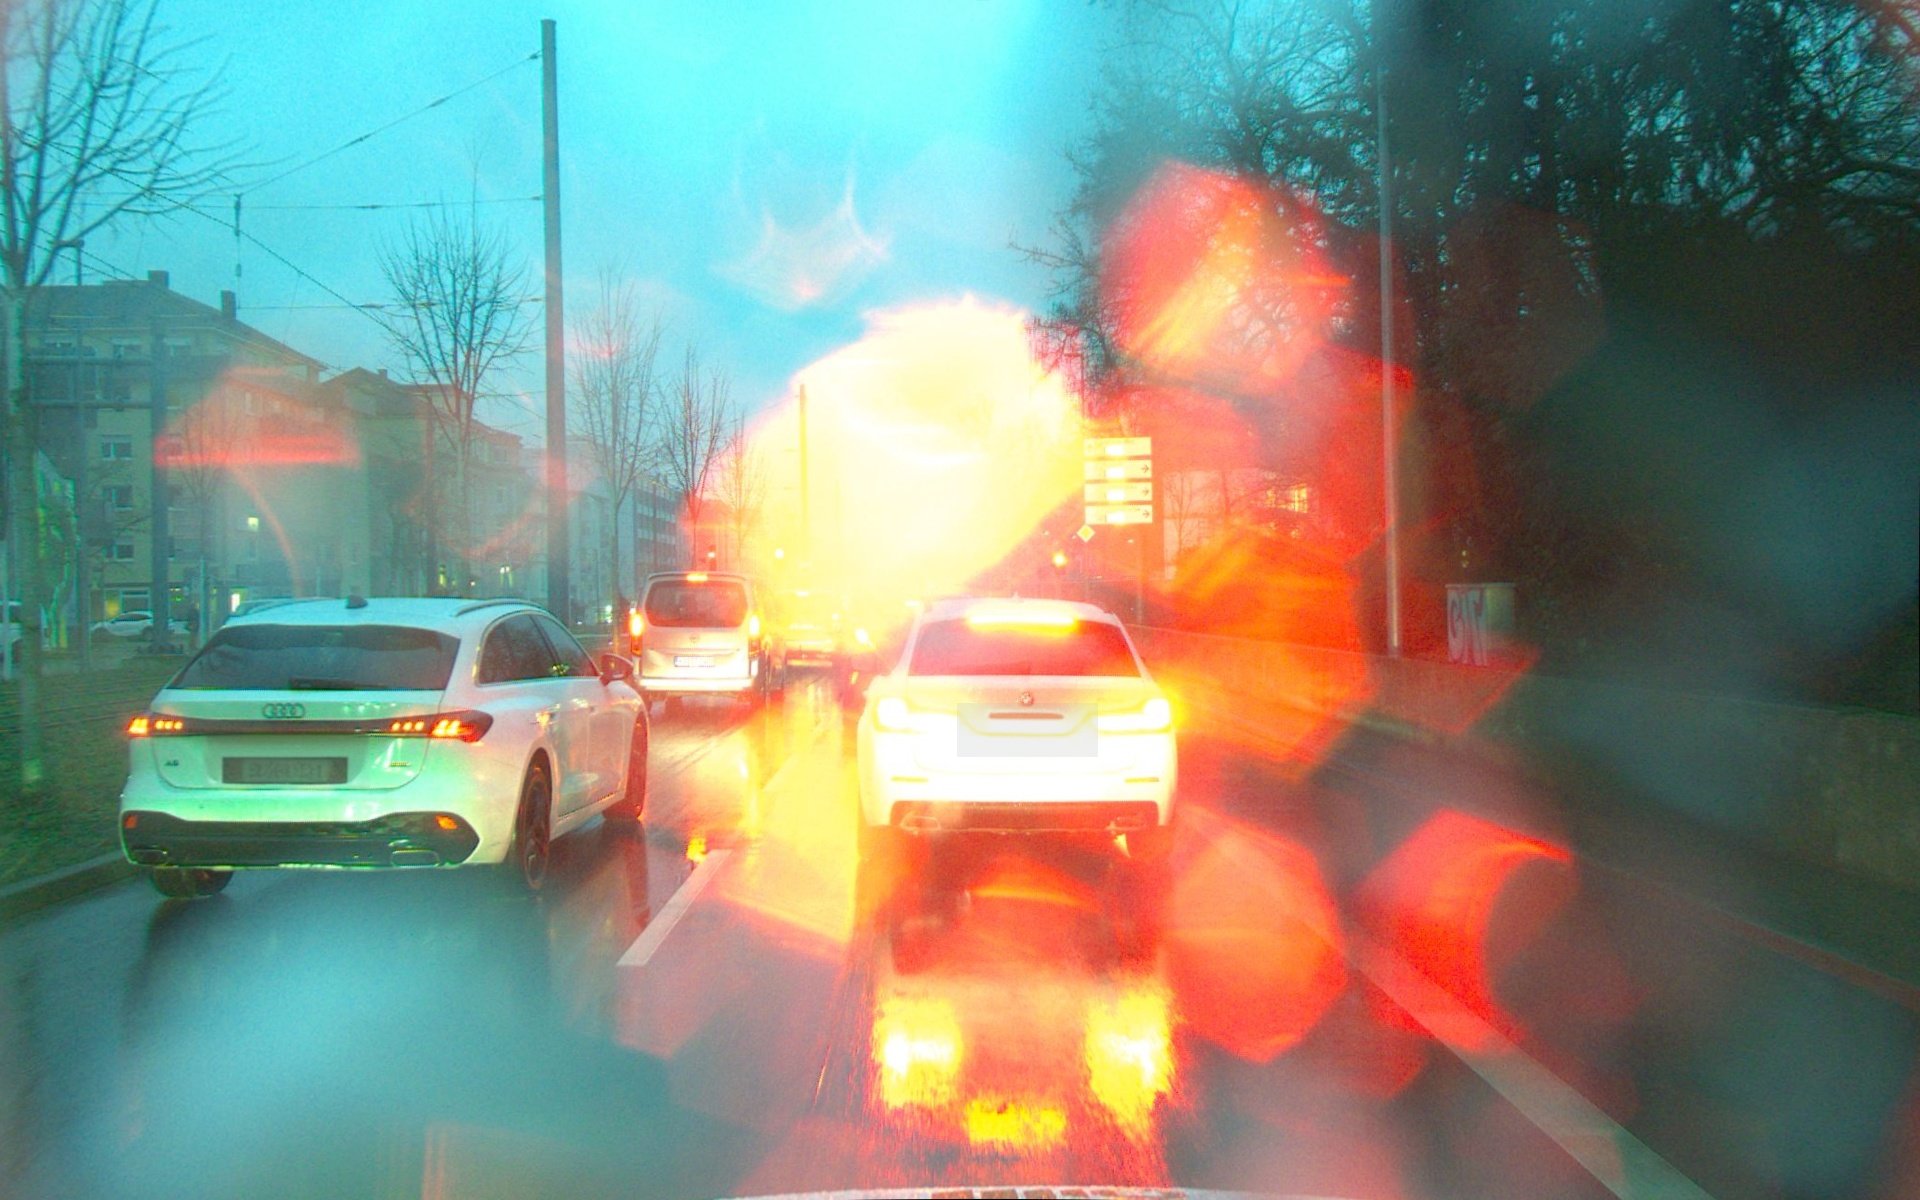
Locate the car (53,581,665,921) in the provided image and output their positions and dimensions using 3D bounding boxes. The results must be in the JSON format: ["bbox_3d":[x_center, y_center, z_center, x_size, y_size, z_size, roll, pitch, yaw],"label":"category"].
[{"bbox_3d":[-2.950,0.646,9.310,1.809,1.430,4.613,0,0,-1],"label":"car"}]

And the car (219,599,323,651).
[{"bbox_3d":[-27.545,0.969,66.298,1.952,1.945,5.164,-1,0,0],"label":"car"}]

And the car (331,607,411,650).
[{"bbox_3d":[-24.771,1.166,69.694,1.858,1.662,4.578,-1,0,-2],"label":"car"}]

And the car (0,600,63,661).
[{"bbox_3d":[-32.571,1.054,54.297,1.966,1.945,5.130,-1,0,43],"label":"car"}]

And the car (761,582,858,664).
[{"bbox_3d":[-3.181,0.457,35.549,1.770,1.674,3.999,0,0,-1],"label":"car"}]

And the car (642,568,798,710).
[{"bbox_3d":[-3.229,0.492,22.987,1.758,1.766,4.534,0,0,-4],"label":"car"}]

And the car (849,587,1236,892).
[{"bbox_3d":[0.386,0.693,10.459,1.959,1.534,4.162,0,0,-1],"label":"car"}]

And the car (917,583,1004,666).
[{"bbox_3d":[-0.019,0.485,35.540,1.770,1.674,3.999,0,0,-1],"label":"car"}]

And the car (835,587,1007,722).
[{"bbox_3d":[-0.462,0.588,20.368,1.896,1.483,4.162,0,0,-1],"label":"car"}]
